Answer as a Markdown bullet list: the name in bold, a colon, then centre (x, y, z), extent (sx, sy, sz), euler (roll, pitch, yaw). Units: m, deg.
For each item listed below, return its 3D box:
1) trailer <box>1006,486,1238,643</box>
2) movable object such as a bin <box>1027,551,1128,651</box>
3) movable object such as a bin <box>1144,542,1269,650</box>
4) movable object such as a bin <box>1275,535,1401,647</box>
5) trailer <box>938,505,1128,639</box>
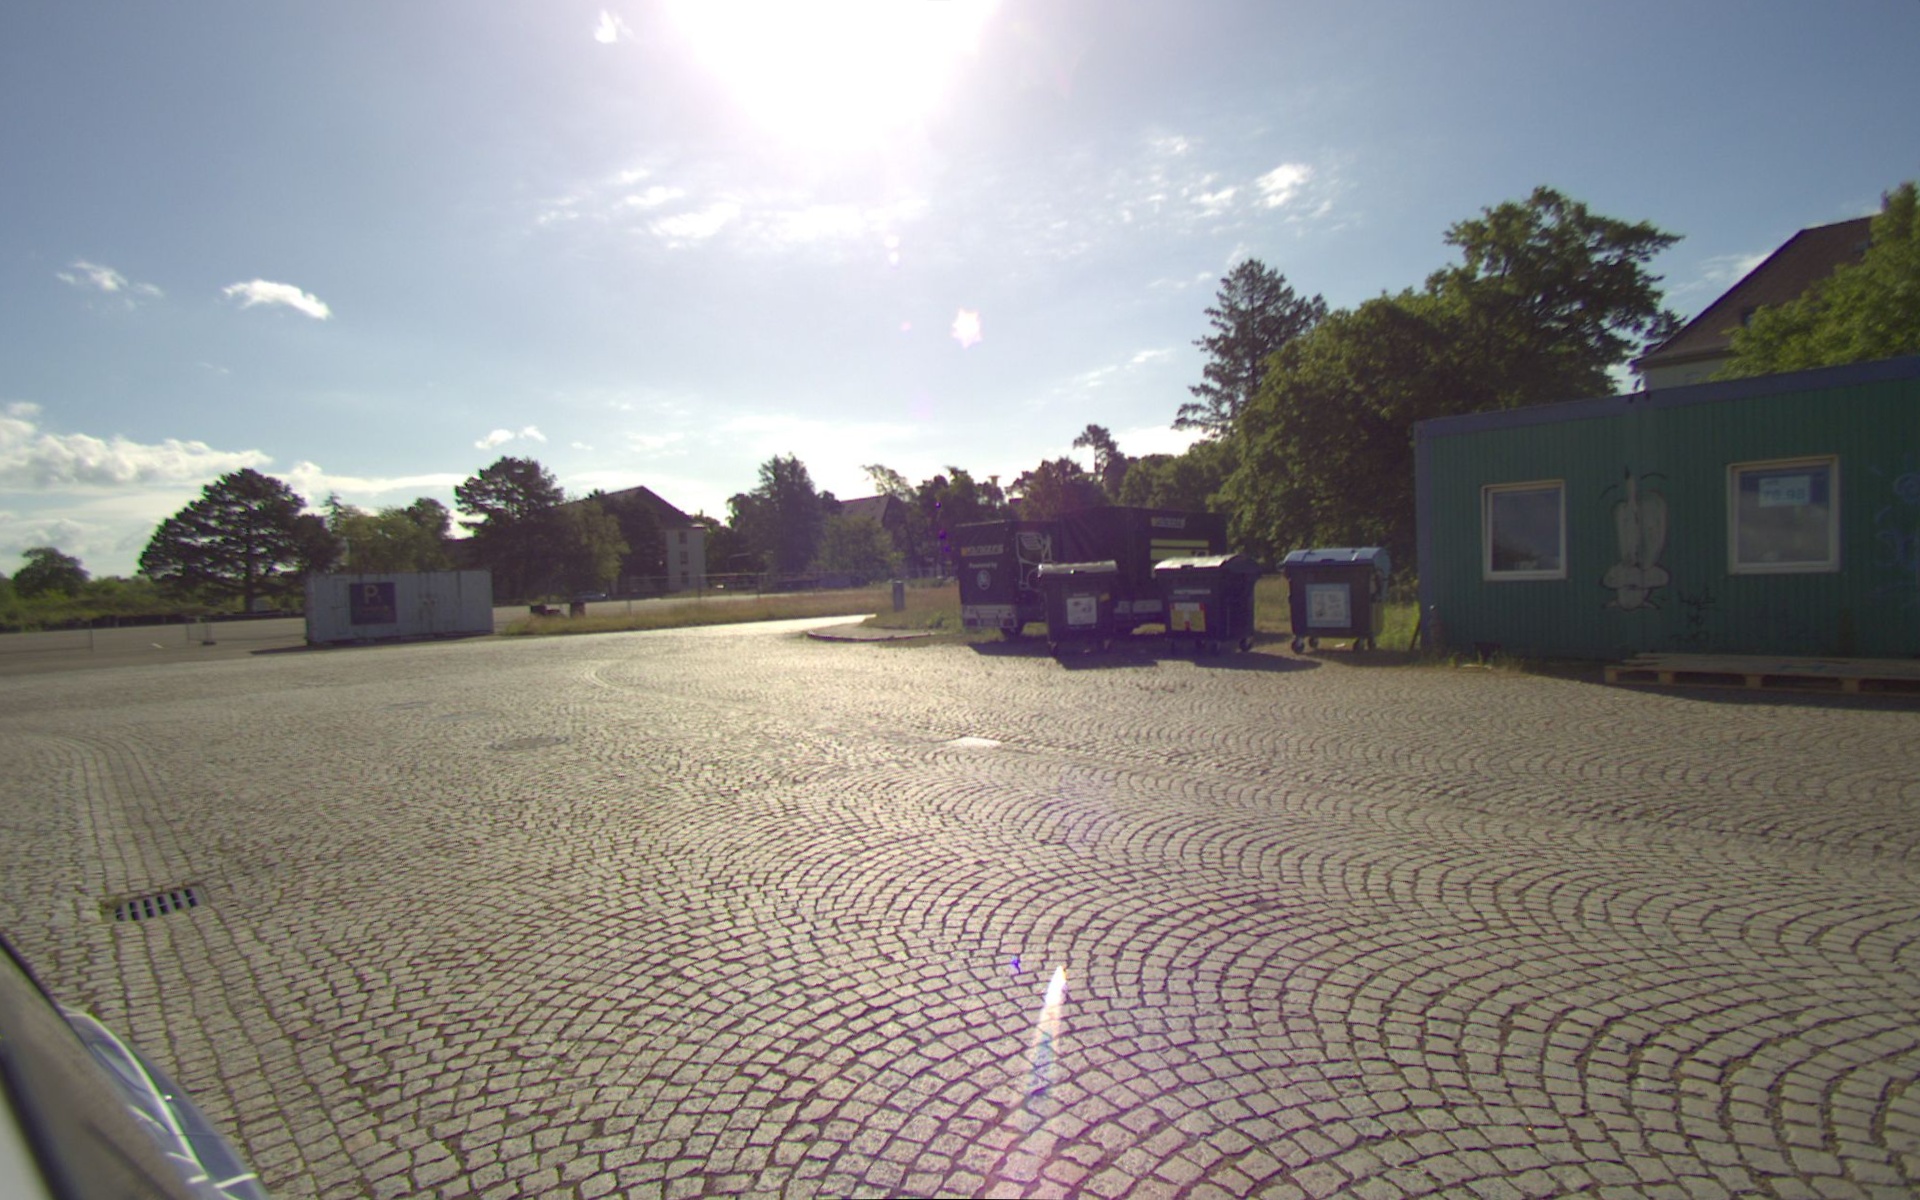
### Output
- **trailer**: centre (3.159, -0.731, 18.992), extent (1.952, 2.586, 4.586), euler (-1, 4, 43)
- **movable object such as a bin**: centre (1.857, -0.015, 16.206), extent (1.419, 1.468, 1.156), euler (-3, 2, 1)
- **movable object such as a bin**: centre (3.636, -0.070, 14.972), extent (1.006, 1.468, 1.442), euler (-5, 3, -43)
- **movable object such as a bin**: centre (5.309, -0.129, 14.231), extent (1.438, 1.468, 0.874), euler (-1, 3, 37)
- **trailer**: centre (1.534, -0.627, 20.829), extent (3.344, 2.487, 2.047), euler (-5, 3, -42)
